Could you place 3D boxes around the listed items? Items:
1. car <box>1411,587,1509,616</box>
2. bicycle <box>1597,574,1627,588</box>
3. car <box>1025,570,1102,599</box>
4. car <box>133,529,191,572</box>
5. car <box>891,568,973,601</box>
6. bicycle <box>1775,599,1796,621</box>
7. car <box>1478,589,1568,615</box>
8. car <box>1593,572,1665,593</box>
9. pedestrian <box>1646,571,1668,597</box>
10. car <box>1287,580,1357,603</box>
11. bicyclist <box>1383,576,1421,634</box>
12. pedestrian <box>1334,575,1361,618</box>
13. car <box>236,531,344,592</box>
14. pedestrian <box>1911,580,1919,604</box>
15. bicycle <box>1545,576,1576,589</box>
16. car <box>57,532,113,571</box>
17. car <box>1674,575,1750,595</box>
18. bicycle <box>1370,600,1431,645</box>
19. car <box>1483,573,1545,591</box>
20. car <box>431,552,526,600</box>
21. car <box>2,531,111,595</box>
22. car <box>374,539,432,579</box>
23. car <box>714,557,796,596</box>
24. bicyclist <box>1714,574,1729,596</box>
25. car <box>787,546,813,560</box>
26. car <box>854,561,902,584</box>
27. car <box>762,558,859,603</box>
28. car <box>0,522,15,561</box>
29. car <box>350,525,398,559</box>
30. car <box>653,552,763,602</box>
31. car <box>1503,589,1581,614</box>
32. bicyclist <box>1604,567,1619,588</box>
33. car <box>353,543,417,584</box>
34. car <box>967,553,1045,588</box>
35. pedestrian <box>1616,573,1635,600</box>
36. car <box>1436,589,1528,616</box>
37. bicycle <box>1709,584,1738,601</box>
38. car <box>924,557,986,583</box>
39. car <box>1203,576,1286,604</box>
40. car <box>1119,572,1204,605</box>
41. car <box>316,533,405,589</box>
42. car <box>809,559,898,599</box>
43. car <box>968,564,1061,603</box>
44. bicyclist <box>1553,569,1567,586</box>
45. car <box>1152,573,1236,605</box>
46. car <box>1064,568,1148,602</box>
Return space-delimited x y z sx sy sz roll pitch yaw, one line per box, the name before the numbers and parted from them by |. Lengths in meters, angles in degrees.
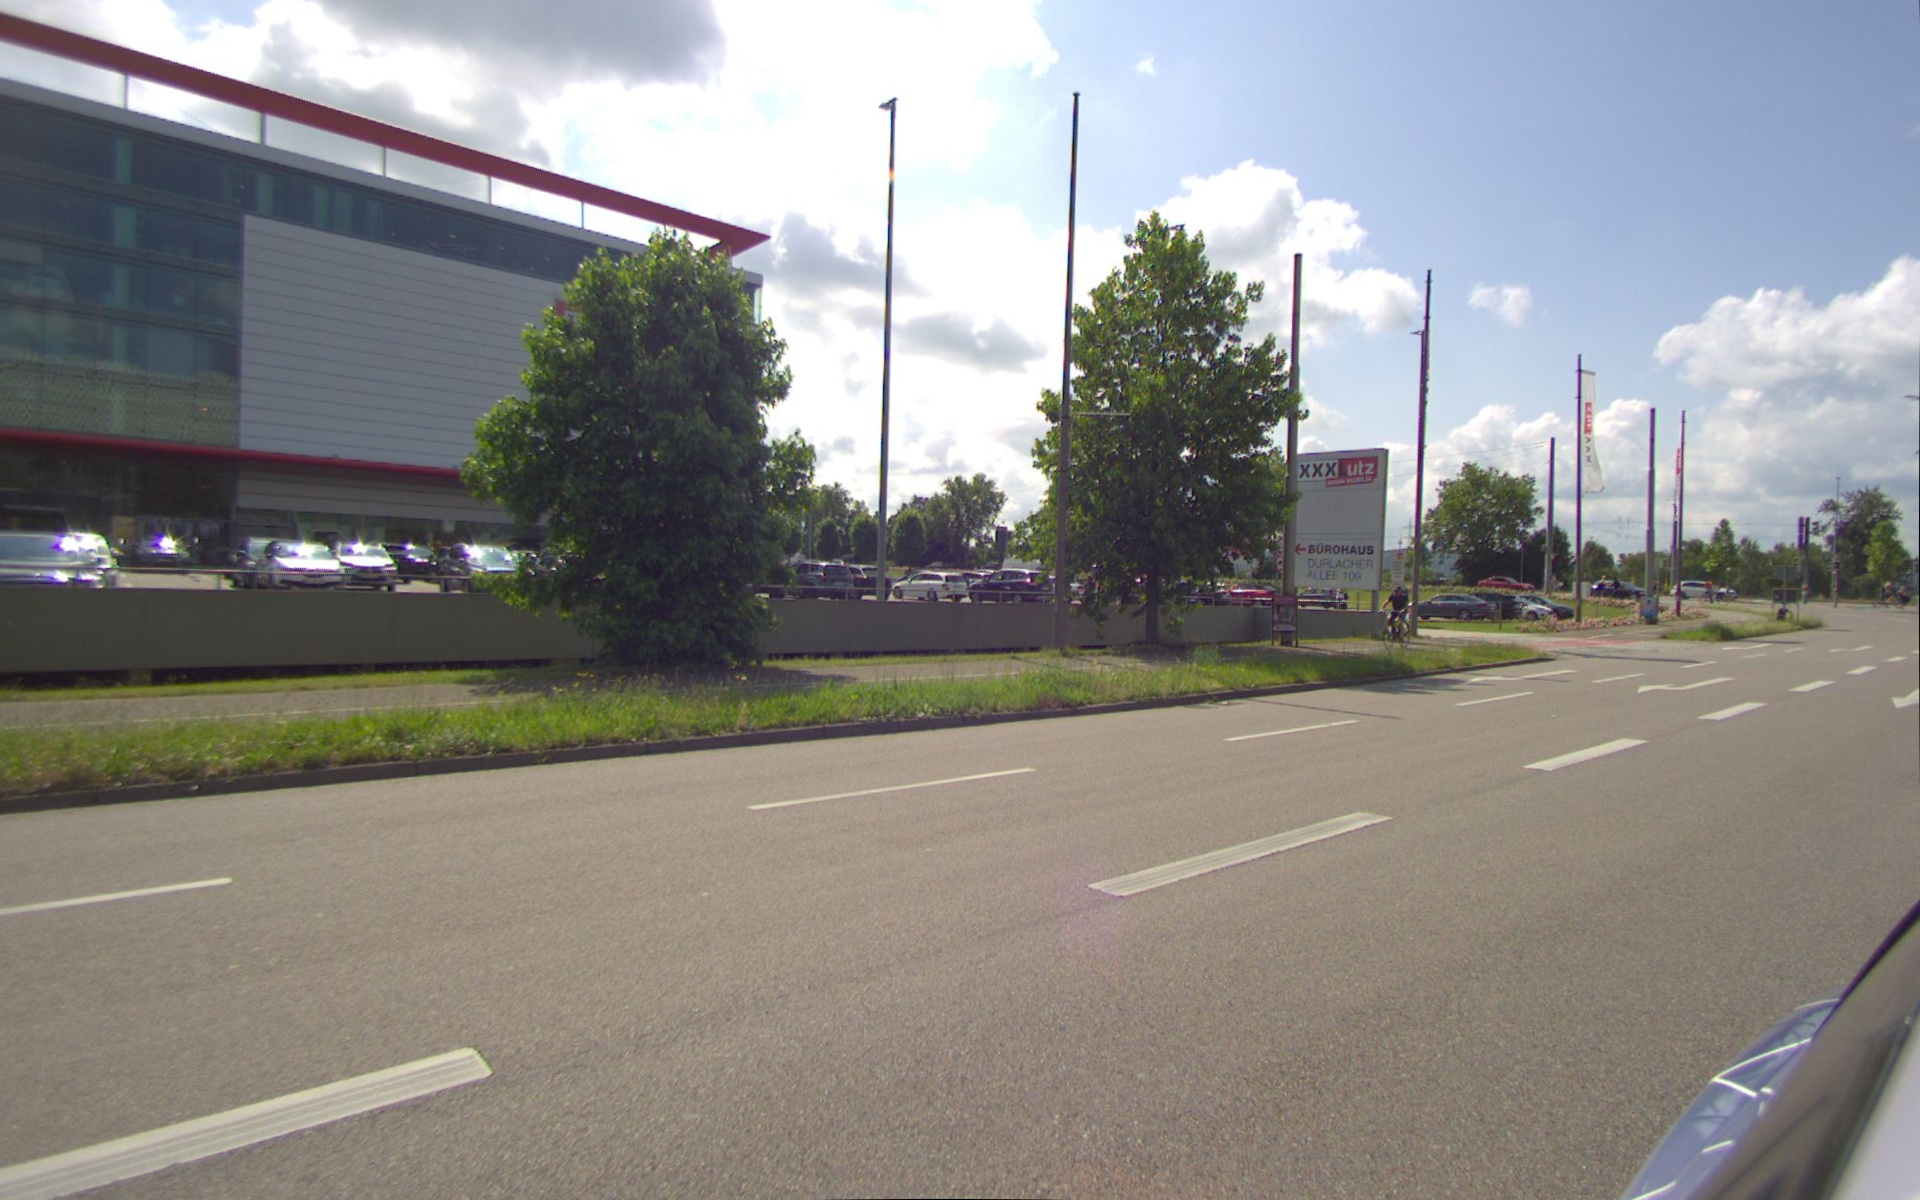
car | 26.719 0.052 54.212 1.823 1.495 4.368 0 0 -39
bicycle | 47.716 -1.372 74.088 0.654 0.973 1.694 1 0 -40
car | 5.730 -0.871 56.290 1.793 1.527 4.157 1 0 -40
car | -33.406 -2.032 42.328 1.771 1.638 3.995 1 0 -40
car | -1.430 -0.794 49.875 1.728 1.445 4.298 3 0 -40
bicycle | 37.964 0.464 46.522 1.517 0.964 0.518 -1 1 -42
car | 33.898 0.083 61.031 1.765 1.458 4.368 0 1 -40
car | 50.452 -1.338 76.401 1.876 1.501 4.211 0 3 -24
pedestrian | 48.763 -1.135 70.771 0.848 1.787 0.864 2 0 -14
car | 26.346 -0.624 73.727 2.012 1.426 4.371 2 2 -39
bicyclist | 11.225 0.126 25.707 0.702 1.430 0.616 1 1 -41
pedestrian | 16.586 -0.155 43.325 0.856 1.805 0.783 1 0 4
car | -19.009 -1.020 28.645 1.966 1.591 3.991 0 0 -43
pedestrian | 61.834 -0.490 65.297 0.460 1.543 0.586 0 0 -32
bicycle | 45.678 -1.335 77.055 0.585 0.973 1.990 1 0 -30
car | -35.209 -1.925 40.752 1.600 1.438 3.994 1 0 -41
car | 59.397 -1.214 79.971 1.980 1.430 4.487 0 2 -44
bicycle | 11.207 0.552 25.707 1.933 1.081 0.624 1 2 -41
car | 46.011 -1.534 84.099 1.721 1.377 4.239 -1 4 -45
car | -15.151 -0.786 31.751 1.658 1.341 4.193 1 2 -41
car | -22.355 -0.940 25.002 1.861 1.406 4.189 1 2 -43
car | -26.476 -1.911 48.042 1.646 1.805 3.994 1 0 -40
car | -8.909 -1.027 43.761 1.698 1.482 3.994 1 2 -42
bicyclist | 53.421 -1.035 71.028 0.689 1.555 0.616 1 0 23
car | -32.231 -9.494 204.192 5.569 2.522 1.930 5 2 41
car | -6.554 -2.152 80.572 1.964 1.761 3.997 1 0 -39
car | -5.913 -0.795 39.674 1.734 1.571 4.190 1 2 -42
car | -37.410 -2.242 38.760 1.600 1.438 3.574 1 0 -41
car | -32.139 -3.161 55.468 1.594 1.673 3.588 1 0 -42
car | -9.071 -0.849 36.183 1.995 1.593 4.366 1 2 -42
car | 37.000 0.080 64.439 1.686 1.435 3.993 -1 2 -42
bicyclist | 47.718 -1.638 74.106 0.639 1.494 0.742 1 0 -40
car | -24.240 -1.533 42.621 1.548 1.616 3.676 1 0 -42
car | 4.300 -2.854 96.235 3.065 3.193 7.902 0 2 -38
pedestrian | 46.477 -0.949 70.702 0.744 1.825 0.823 0 1 -14
car | 29.811 0.119 57.884 1.824 1.434 4.367 0 1 -40
bicycle | 53.543 -0.517 70.957 1.488 1.180 0.616 1 0 23
car | -0.331 -1.893 64.608 1.818 1.571 4.057 0 0 -39
car | 16.387 -0.600 58.453 1.813 1.379 4.370 2 2 -39
car | 10.642 -0.630 53.735 1.597 1.460 4.370 2 2 -39
car | -20.105 -1.279 33.864 1.762 1.749 3.993 1 1 -42
car | -4.943 -0.978 46.576 1.783 1.640 4.367 2 2 -42
car | 2.417 -0.753 45.339 1.713 1.550 4.058 0 3 -44
bicyclist | 45.690 -1.714 77.052 0.581 1.342 0.688 1 0 -30
car | 12.708 -0.631 55.156 1.652 1.527 4.370 0 3 -39
car | 7.293 -0.765 50.869 1.666 1.607 4.021 2 0 -42
